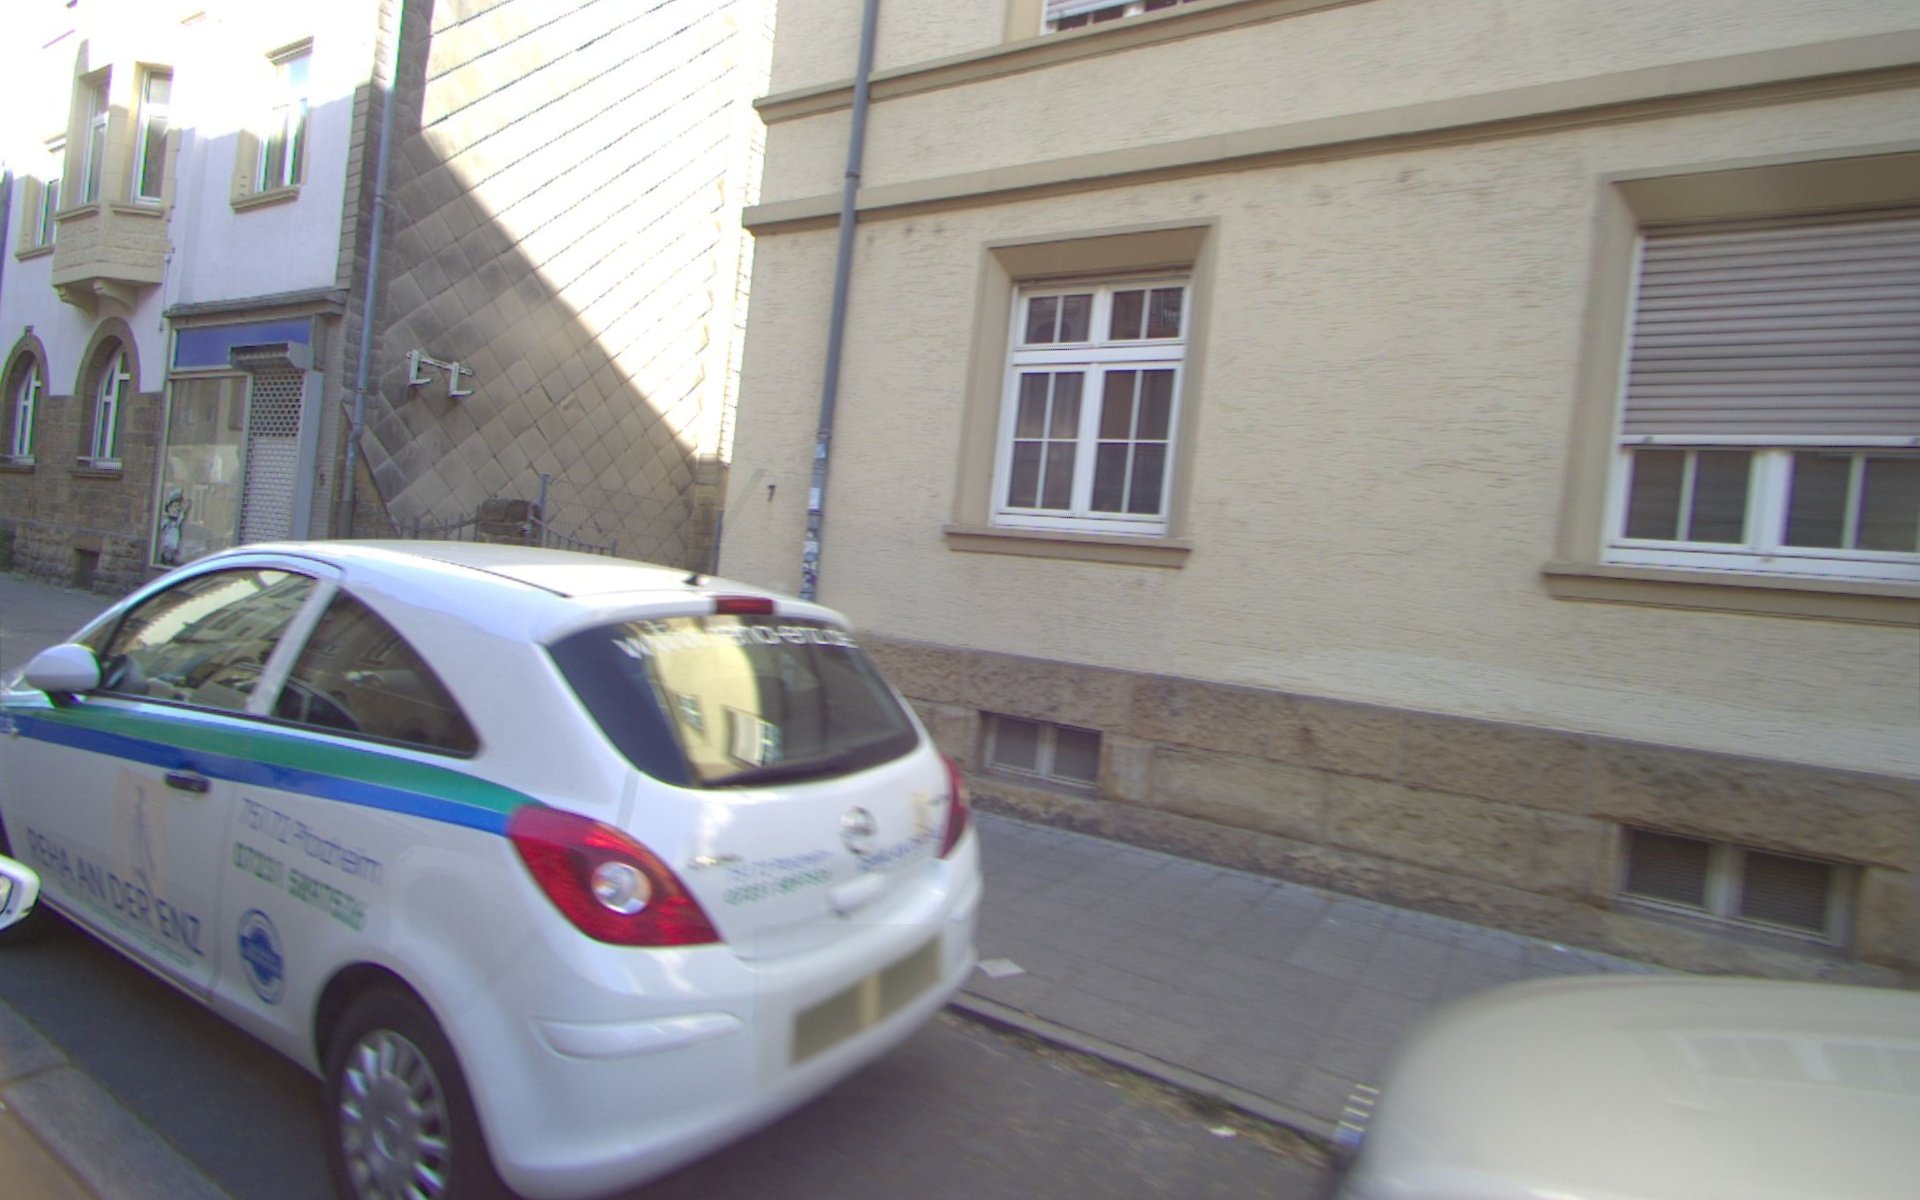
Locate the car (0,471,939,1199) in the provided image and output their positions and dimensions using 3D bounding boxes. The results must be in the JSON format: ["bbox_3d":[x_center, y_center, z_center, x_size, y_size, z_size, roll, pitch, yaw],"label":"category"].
[{"bbox_3d":[-2.102,0.453,3.401,3.649,1.483,1.588,7,1,30],"label":"car"}]

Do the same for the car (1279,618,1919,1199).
[{"bbox_3d":[2.460,1.005,0.761,4.026,1.483,1.654,7,1,31],"label":"car"}]
